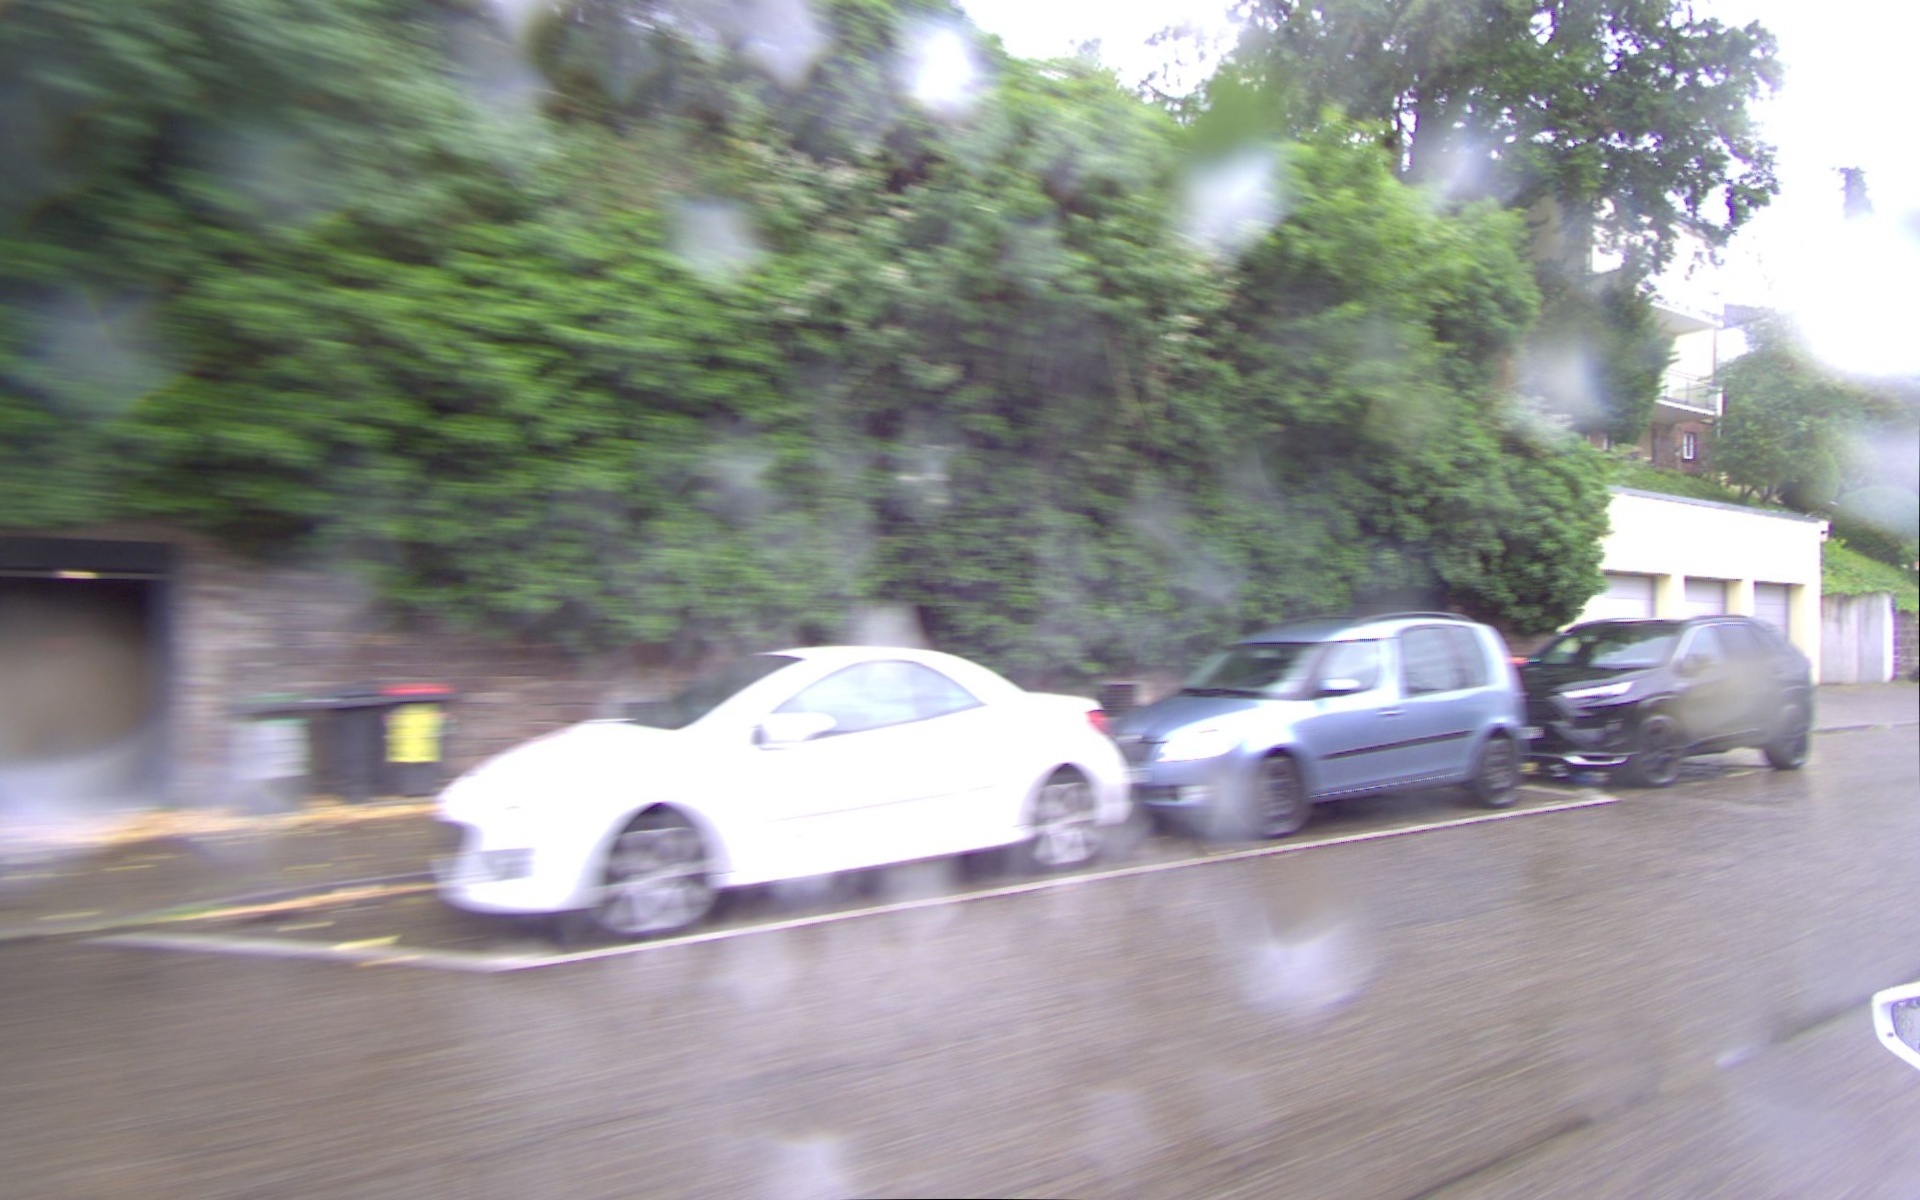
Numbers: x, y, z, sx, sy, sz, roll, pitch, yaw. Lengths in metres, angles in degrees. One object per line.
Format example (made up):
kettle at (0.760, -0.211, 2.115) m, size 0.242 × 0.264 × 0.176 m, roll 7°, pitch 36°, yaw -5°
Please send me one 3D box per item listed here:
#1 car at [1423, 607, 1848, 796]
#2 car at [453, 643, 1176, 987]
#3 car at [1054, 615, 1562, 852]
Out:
car at (7.365, 0.993, 10.880) m, size 4.536 × 1.646 × 1.867 m, roll 0°, pitch -5°, yaw -29°
car at (-0.782, 1.042, 6.172) m, size 4.038 × 1.383 × 1.708 m, roll 0°, pitch -4°, yaw -32°
car at (2.990, 0.981, 8.528) m, size 4.057 × 1.581 × 1.736 m, roll 0°, pitch -4°, yaw -28°
